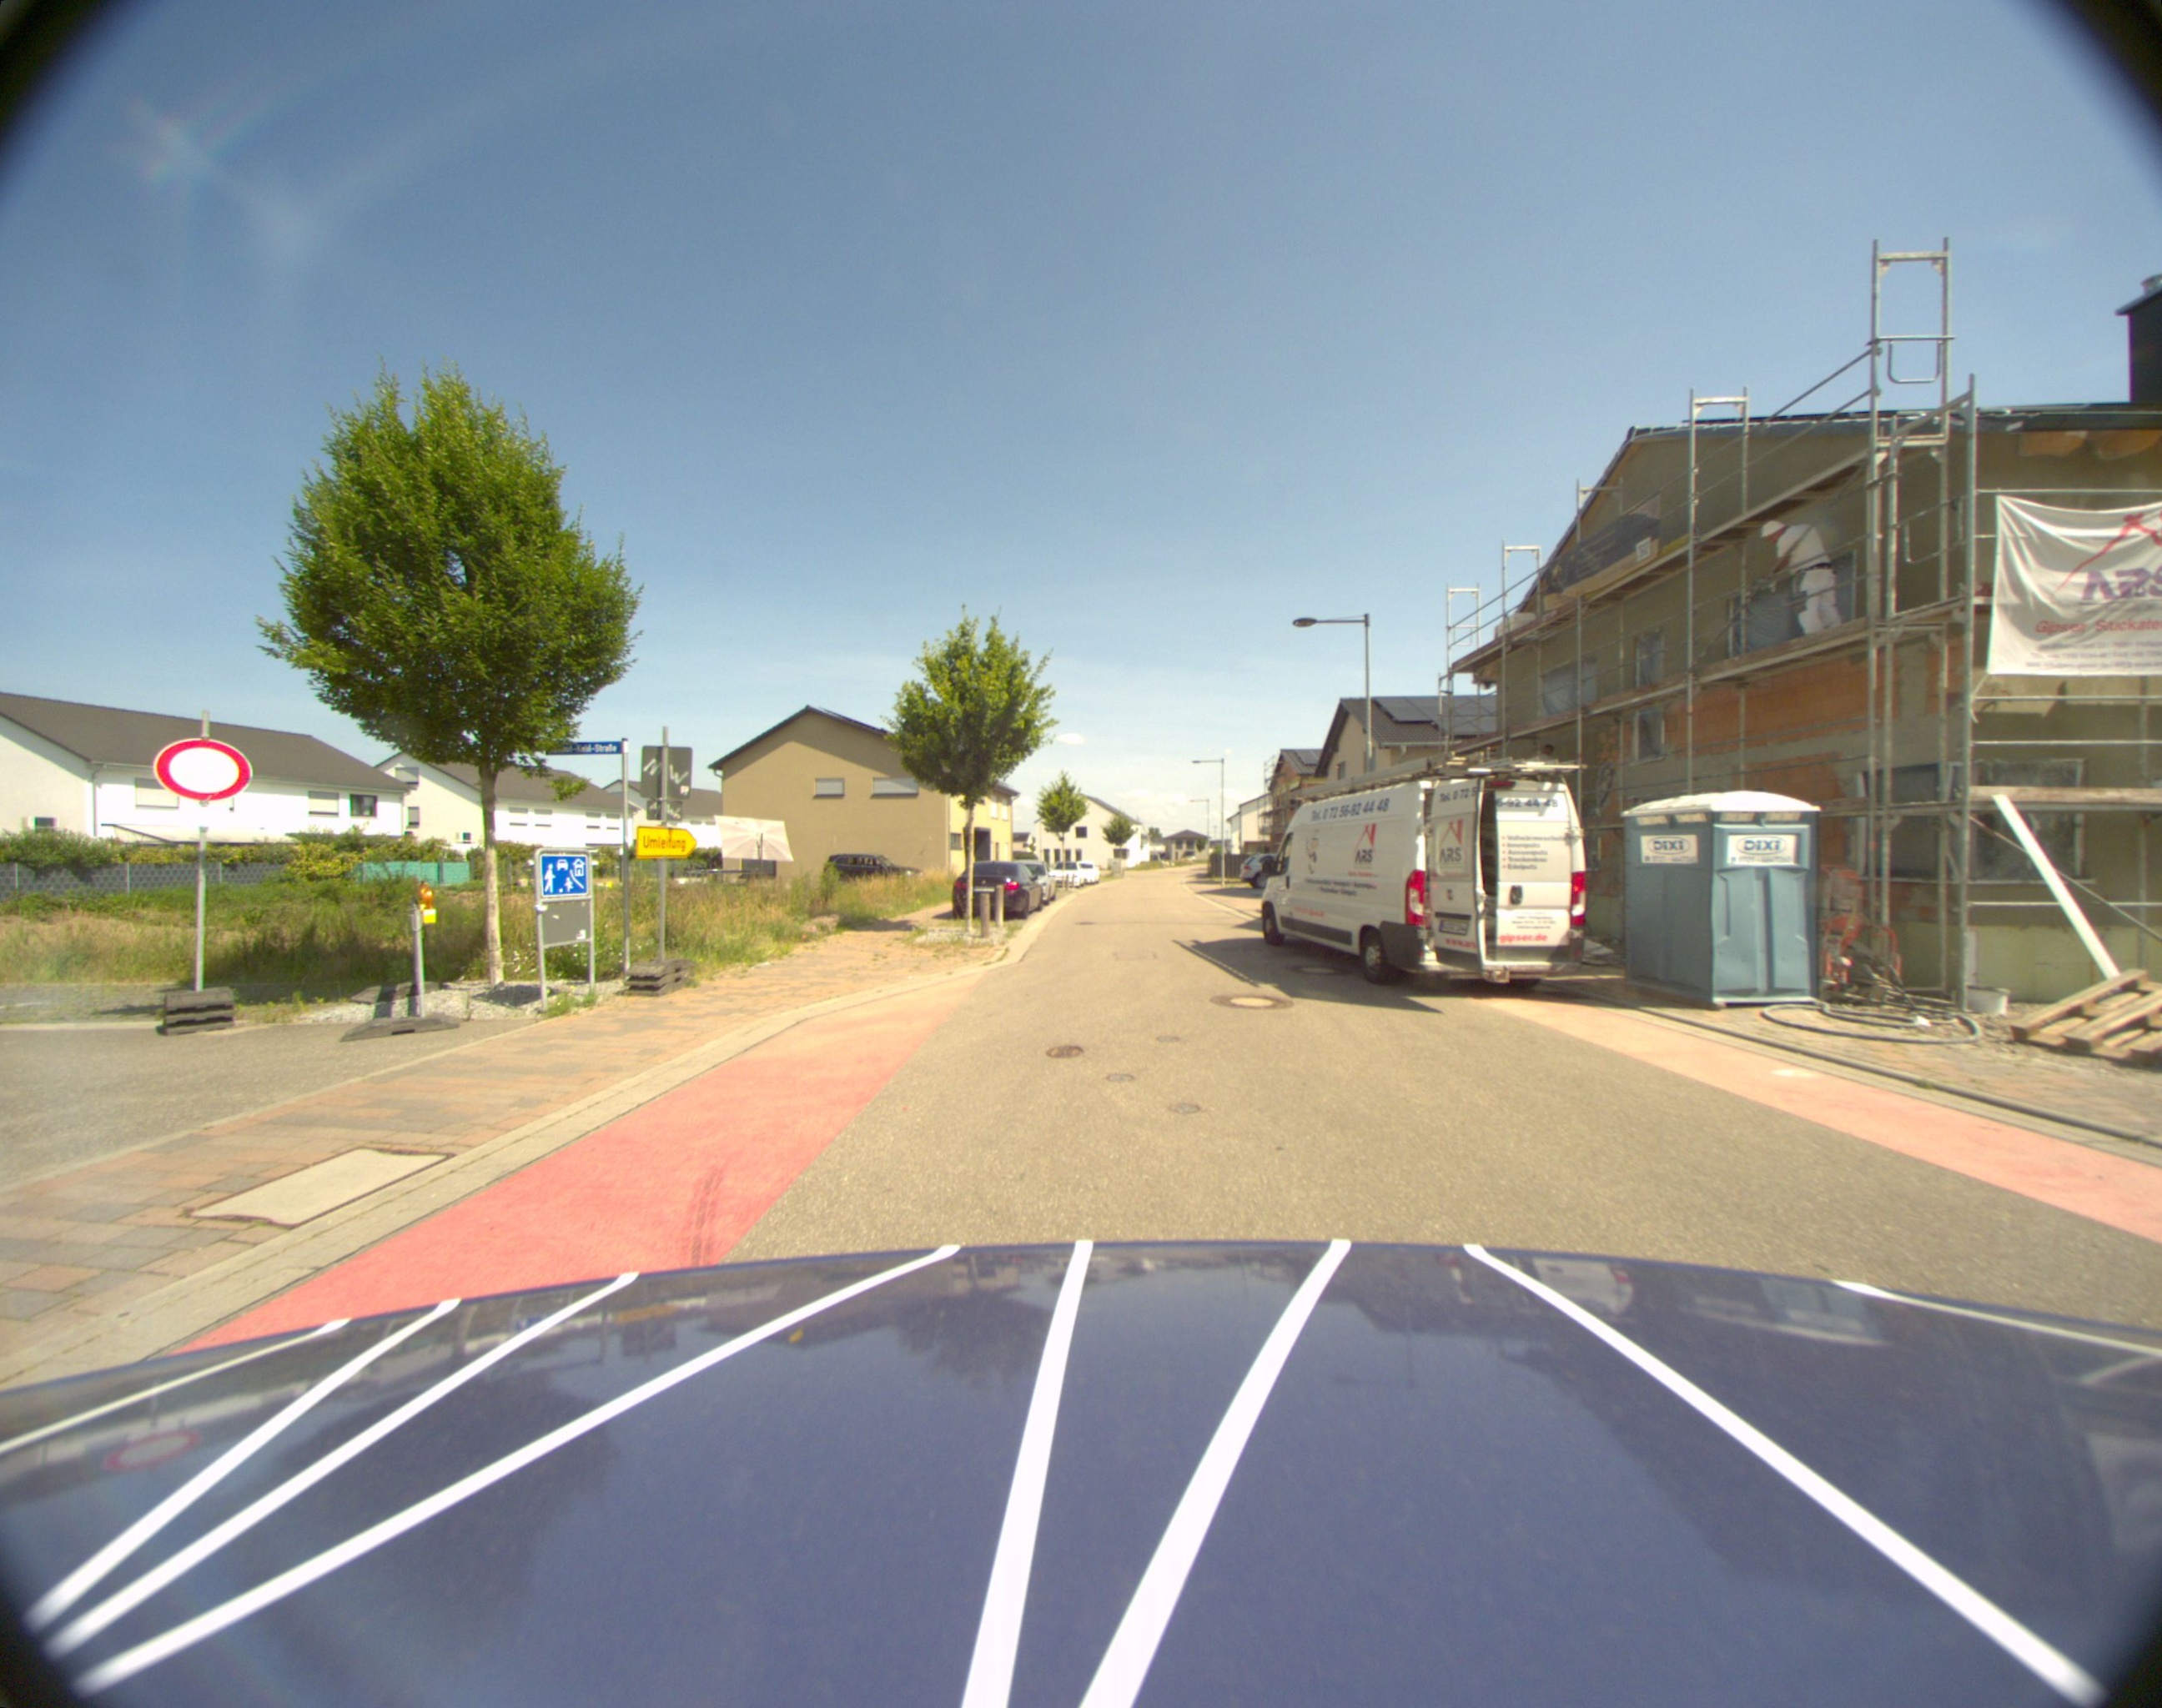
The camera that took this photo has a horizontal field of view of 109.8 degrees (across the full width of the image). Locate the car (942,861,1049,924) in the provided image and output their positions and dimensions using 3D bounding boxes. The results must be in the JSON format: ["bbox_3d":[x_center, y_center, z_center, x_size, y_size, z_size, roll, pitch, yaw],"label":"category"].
[{"bbox_3d":[-2.134,0.945,20.574,1.922,1.461,5.142,1,-1,4],"label":"car"}]

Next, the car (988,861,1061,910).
[{"bbox_3d":[-1.851,1.034,26.639,1.923,1.502,5.296,1,-1,3],"label":"car"}]

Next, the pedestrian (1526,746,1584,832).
[{"bbox_3d":[9.398,-1.281,15.093,0.748,1.670,0.578,0,2,-1],"label":"pedestrian"}]

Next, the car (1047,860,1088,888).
[{"bbox_3d":[-0.692,1.099,42.599,1.783,1.417,4.517,1,-1,6],"label":"car"}]

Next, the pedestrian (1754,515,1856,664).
[{"bbox_3d":[8.790,-3.168,9.237,0.564,1.491,0.746,-1,3,-34],"label":"pedestrian"}]

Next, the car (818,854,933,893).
[{"bbox_3d":[-9.484,0.877,35.298,4.756,1.635,2.000,1,1,4],"label":"car"}]

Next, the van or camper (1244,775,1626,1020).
[{"bbox_3d":[4.400,0.431,11.122,2.279,2.538,6.364,0,1,-4],"label":"van or camper"}]

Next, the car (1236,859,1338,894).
[{"bbox_3d":[9.870,1.054,36.638,4.435,1.602,2.000,0,0,3],"label":"car"}]

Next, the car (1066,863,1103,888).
[{"bbox_3d":[0.305,1.344,48.858,1.818,1.447,4.567,1,0,7],"label":"car"}]
